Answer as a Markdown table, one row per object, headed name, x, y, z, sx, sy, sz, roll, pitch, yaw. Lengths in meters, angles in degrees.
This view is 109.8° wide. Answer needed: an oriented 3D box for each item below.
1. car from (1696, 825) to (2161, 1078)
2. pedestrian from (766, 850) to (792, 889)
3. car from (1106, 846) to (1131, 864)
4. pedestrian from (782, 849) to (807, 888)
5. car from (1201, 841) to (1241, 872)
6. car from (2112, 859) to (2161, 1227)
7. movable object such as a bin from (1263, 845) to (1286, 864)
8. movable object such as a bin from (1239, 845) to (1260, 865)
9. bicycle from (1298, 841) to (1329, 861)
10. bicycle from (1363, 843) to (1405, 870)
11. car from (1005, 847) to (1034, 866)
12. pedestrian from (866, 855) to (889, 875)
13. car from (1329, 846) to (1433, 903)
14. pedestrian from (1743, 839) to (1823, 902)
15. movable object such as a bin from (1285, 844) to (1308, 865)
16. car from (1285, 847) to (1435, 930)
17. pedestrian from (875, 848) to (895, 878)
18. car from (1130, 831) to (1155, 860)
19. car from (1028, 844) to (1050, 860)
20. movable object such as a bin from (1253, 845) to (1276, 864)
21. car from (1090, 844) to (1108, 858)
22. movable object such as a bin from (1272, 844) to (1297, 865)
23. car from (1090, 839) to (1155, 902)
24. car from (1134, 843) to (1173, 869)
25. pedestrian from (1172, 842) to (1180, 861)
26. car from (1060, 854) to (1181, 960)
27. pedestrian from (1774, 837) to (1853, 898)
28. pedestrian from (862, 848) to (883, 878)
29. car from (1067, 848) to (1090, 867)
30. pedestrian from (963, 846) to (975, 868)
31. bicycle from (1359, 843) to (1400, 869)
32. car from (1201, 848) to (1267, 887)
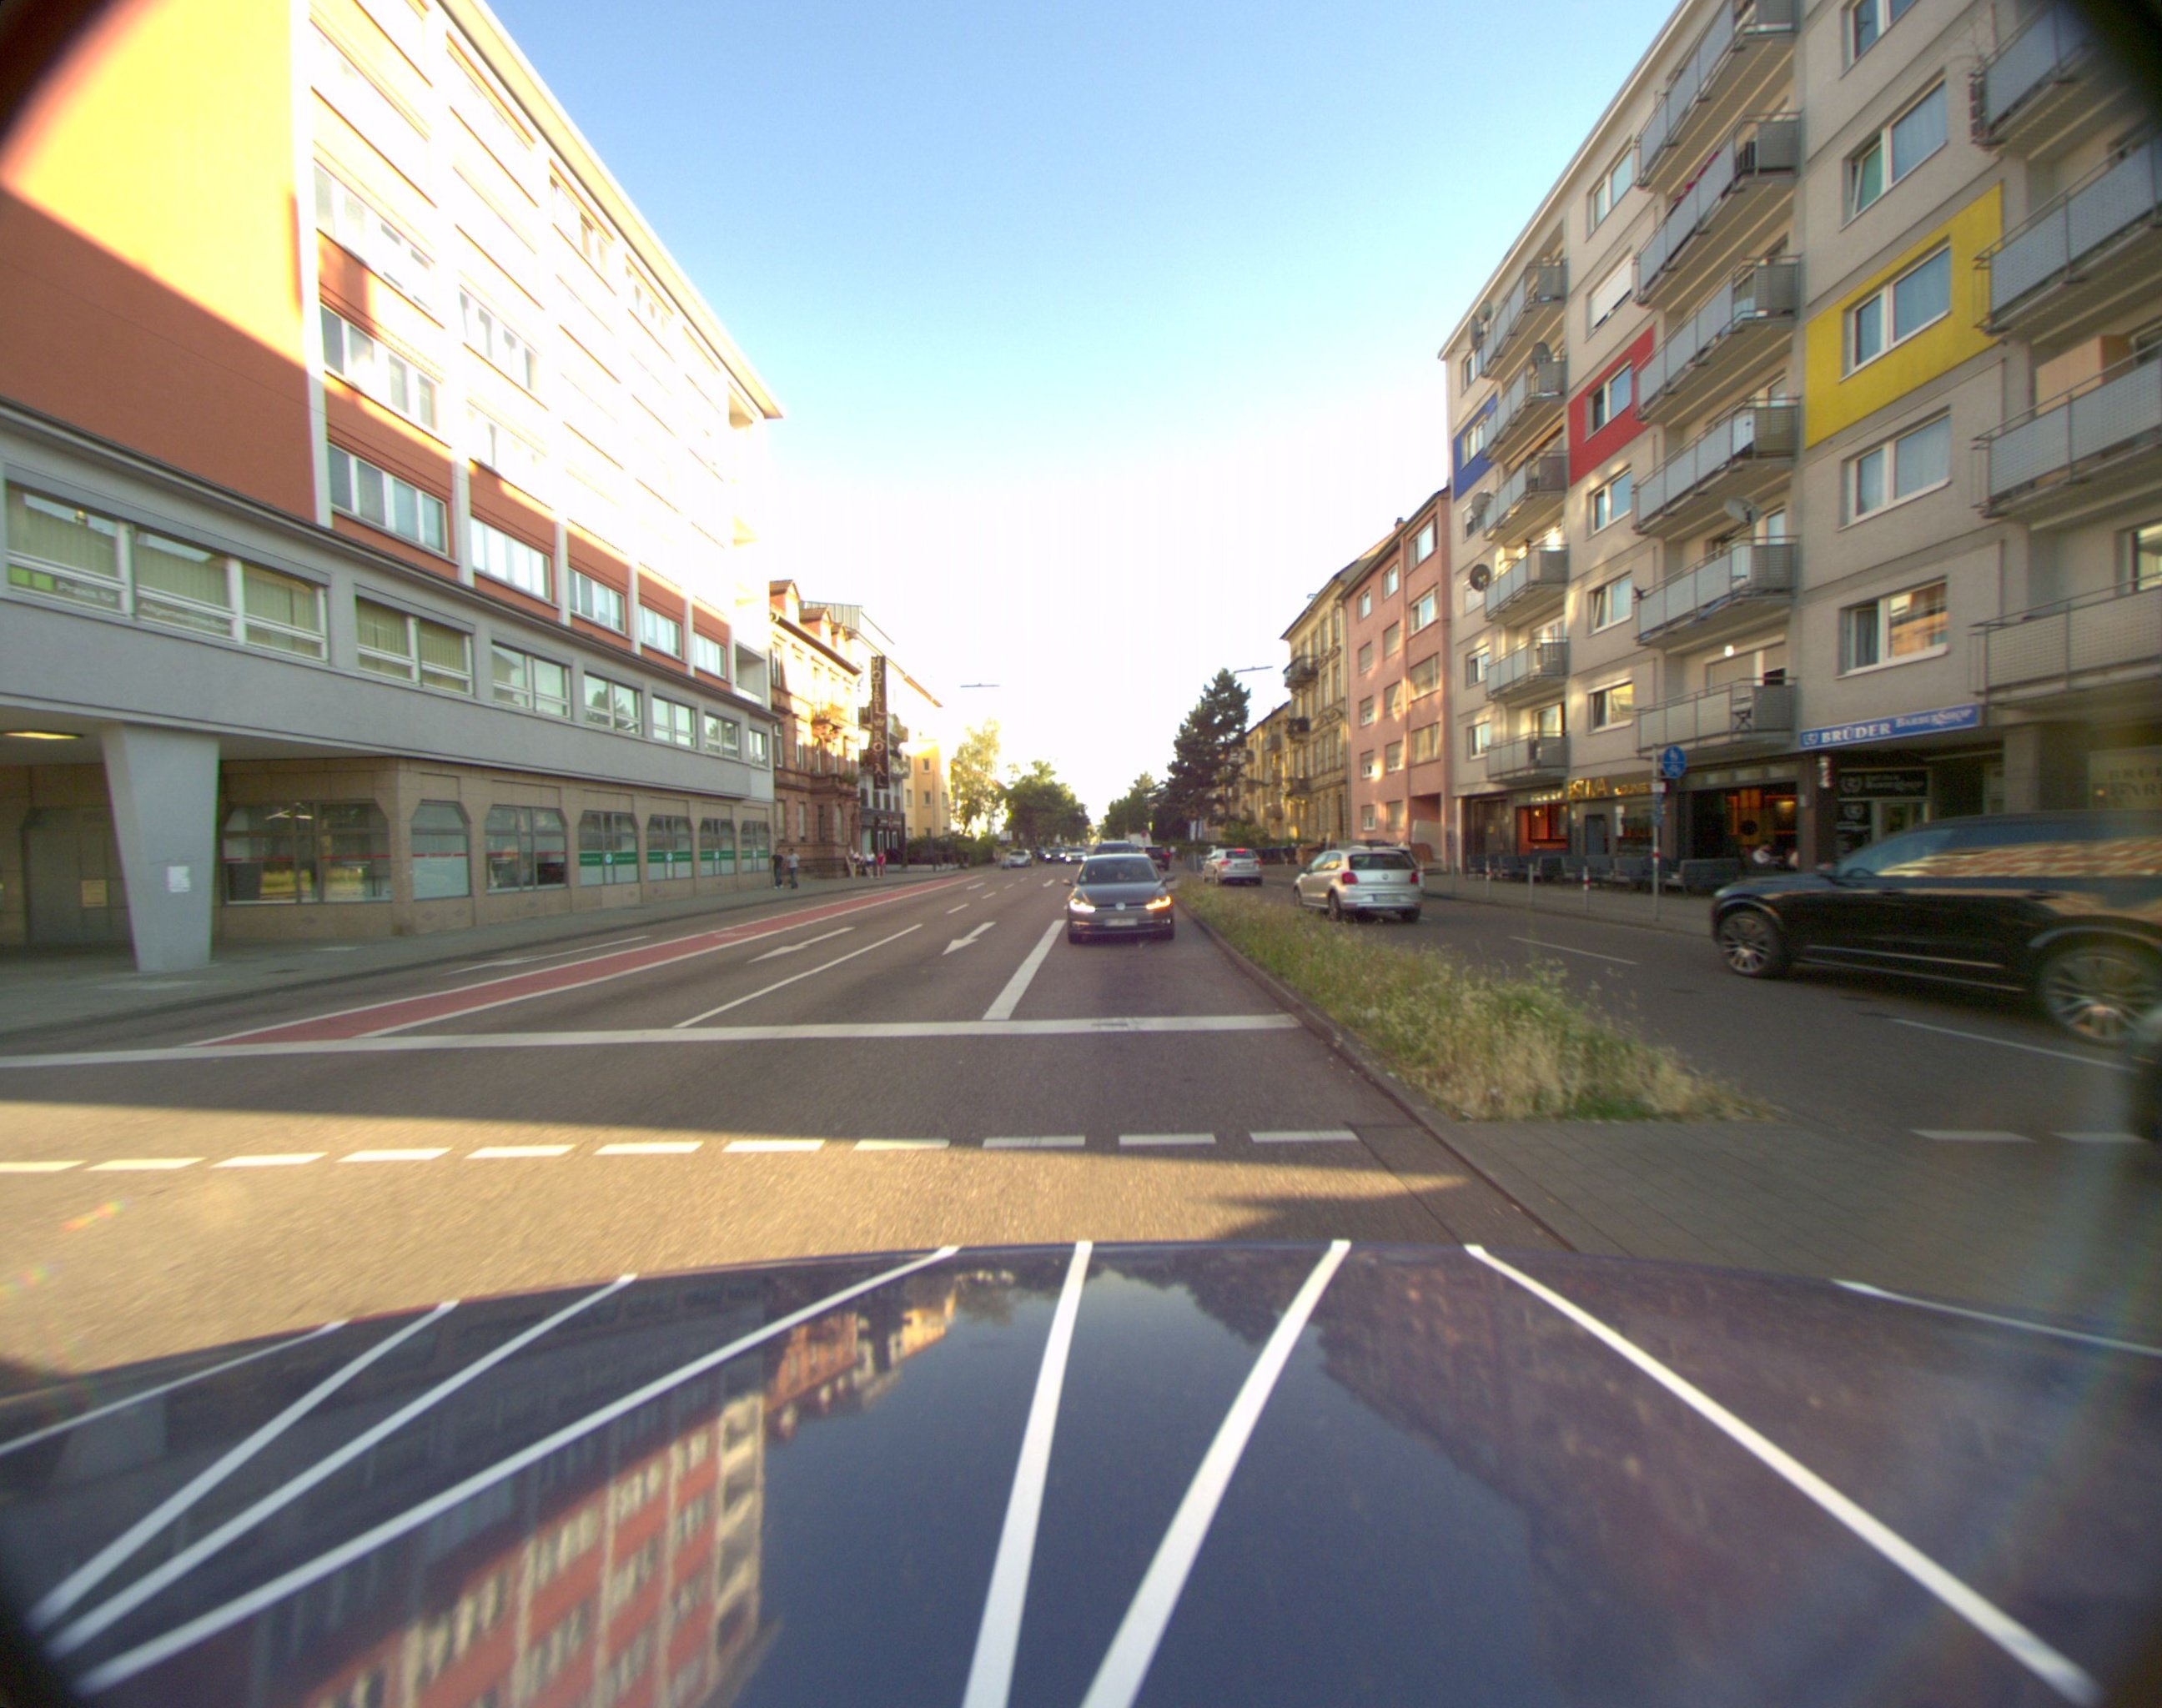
| name | x | y | z | sx | sy | sz | roll | pitch | yaw |
| --- | --- | --- | --- | --- | --- | --- | --- | --- | --- |
| car | 8.244 | 0.642 | 6.720 | 1.820 | 1.701 | 4.786 | 0 | 1 | 2 |
| pedestrian | -13.601 | 0.670 | 34.215 | 0.668 | 1.716 | 1.011 | -1 | 1 | 4 |
| car | 3.212 | 0.055 | 65.228 | 1.597 | 1.463 | 3.983 | -1 | 1 | -5 |
| pedestrian | -12.878 | 0.636 | 34.177 | 0.668 | 1.716 | 1.011 | -1 | 2 | 3 |
| car | 7.488 | 0.126 | 40.829 | 1.539 | 1.584 | 2.807 | 0 | 1 | -2 |
| car | 5.204 | 0.805 | 1.536 | 1.581 | 1.536 | 3.477 | 0 | 1 | 3 |
| movable object such as a bin | 12.468 | 0.028 | 48.847 | 1.195 | 1.226 | 0.847 | -2 | 2 | -38 |
| movable object such as a bin | 11.116 | 0.068 | 50.092 | 0.847 | 1.226 | 1.196 | 0 | 2 | 44 |
| bicycle | 14.277 | -0.193 | 46.658 | 1.780 | 1.184 | 0.473 | -2 | 1 | 0 |
| bicycle | 14.338 | 0.117 | 35.951 | 1.780 | 1.184 | 0.473 | -2 | 1 | 0 |
| car | -5.288 | 0.178 | 65.574 | 1.905 | 1.509 | 4.074 | -1 | 1 | 3 |
| pedestrian | -12.221 | 0.665 | 45.598 | 1.100 | 1.129 | 0.924 | -1 | 1 | 0 |
| car | 8.639 | 0.540 | 22.206 | 1.679 | 1.536 | 3.637 | 0 | 1 | 1 |
| pedestrian | 15.566 | 0.356 | 16.878 | 0.974 | 1.339 | 0.883 | -1 | 1 | 2 |
| movable object such as a bin | 13.378 | 0.018 | 47.176 | 1.195 | 1.226 | 0.847 | -2 | 2 | -38 |
| car | 5.740 | 0.632 | 16.128 | 1.680 | 1.536 | 3.805 | 0 | 1 | -2 |
| pedestrian | -10.939 | 0.490 | 42.435 | 0.738 | 1.579 | 1.011 | 3 | 2 | 6 |
| car | 5.895 | -0.827 | 73.364 | 2.135 | 2.741 | 4.466 | 0 | 1 | 1 |
| car | -4.498 | -0.276 | 81.345 | 1.947 | 1.616 | 4.193 | -1 | 1 | 2 |
| movable object such as a bin | 11.963 | 0.038 | 49.569 | 1.195 | 1.226 | 0.847 | -2 | 2 | -38 |
| car | 1.826 | -0.317 | 79.400 | 1.757 | 1.479 | 4.247 | -1 | 1 | -1 |
| movable object such as a bin | 12.830 | 0.027 | 47.940 | 1.295 | 1.226 | 0.926 | -2 | 2 | -38 |
| car | 1.287 | 0.450 | 24.512 | 1.895 | 1.843 | 4.466 | 0 | 1 | 2 |
| car | 4.478 | 0.099 | 47.497 | 1.680 | 1.536 | 4.100 | 0 | 1 | -5 |
| pedestrian | 8.045 | -0.241 | 64.180 | 0.577 | 1.591 | 0.481 | -2 | 1 | 2 |
| car | 0.700 | 0.807 | 13.658 | 1.770 | 1.450 | 4.269 | -3 | 1 | 3 |
| pedestrian | 16.793 | 0.285 | 17.448 | 0.882 | 1.339 | 0.974 | -1 | 1 | 2 |
| pedestrian | -11.659 | 0.486 | 42.536 | 0.786 | 1.579 | 1.011 | 3 | 2 | 6 |
| car | -0.196 | 0.329 | 68.043 | 1.907 | 1.532 | 3.999 | -2 | 1 | 2 |
| pedestrian | -8.583 | 0.227 | 58.430 | 0.738 | 1.593 | 1.011 | 1 | 2 | 2 |
| bicycle | 14.383 | 0.107 | 36.683 | 1.780 | 1.184 | 0.473 | -2 | 1 | 0 |
| car | 5.949 | 0.480 | 29.934 | 1.713 | 1.417 | 4.101 | 0 | 1 | -1 |
